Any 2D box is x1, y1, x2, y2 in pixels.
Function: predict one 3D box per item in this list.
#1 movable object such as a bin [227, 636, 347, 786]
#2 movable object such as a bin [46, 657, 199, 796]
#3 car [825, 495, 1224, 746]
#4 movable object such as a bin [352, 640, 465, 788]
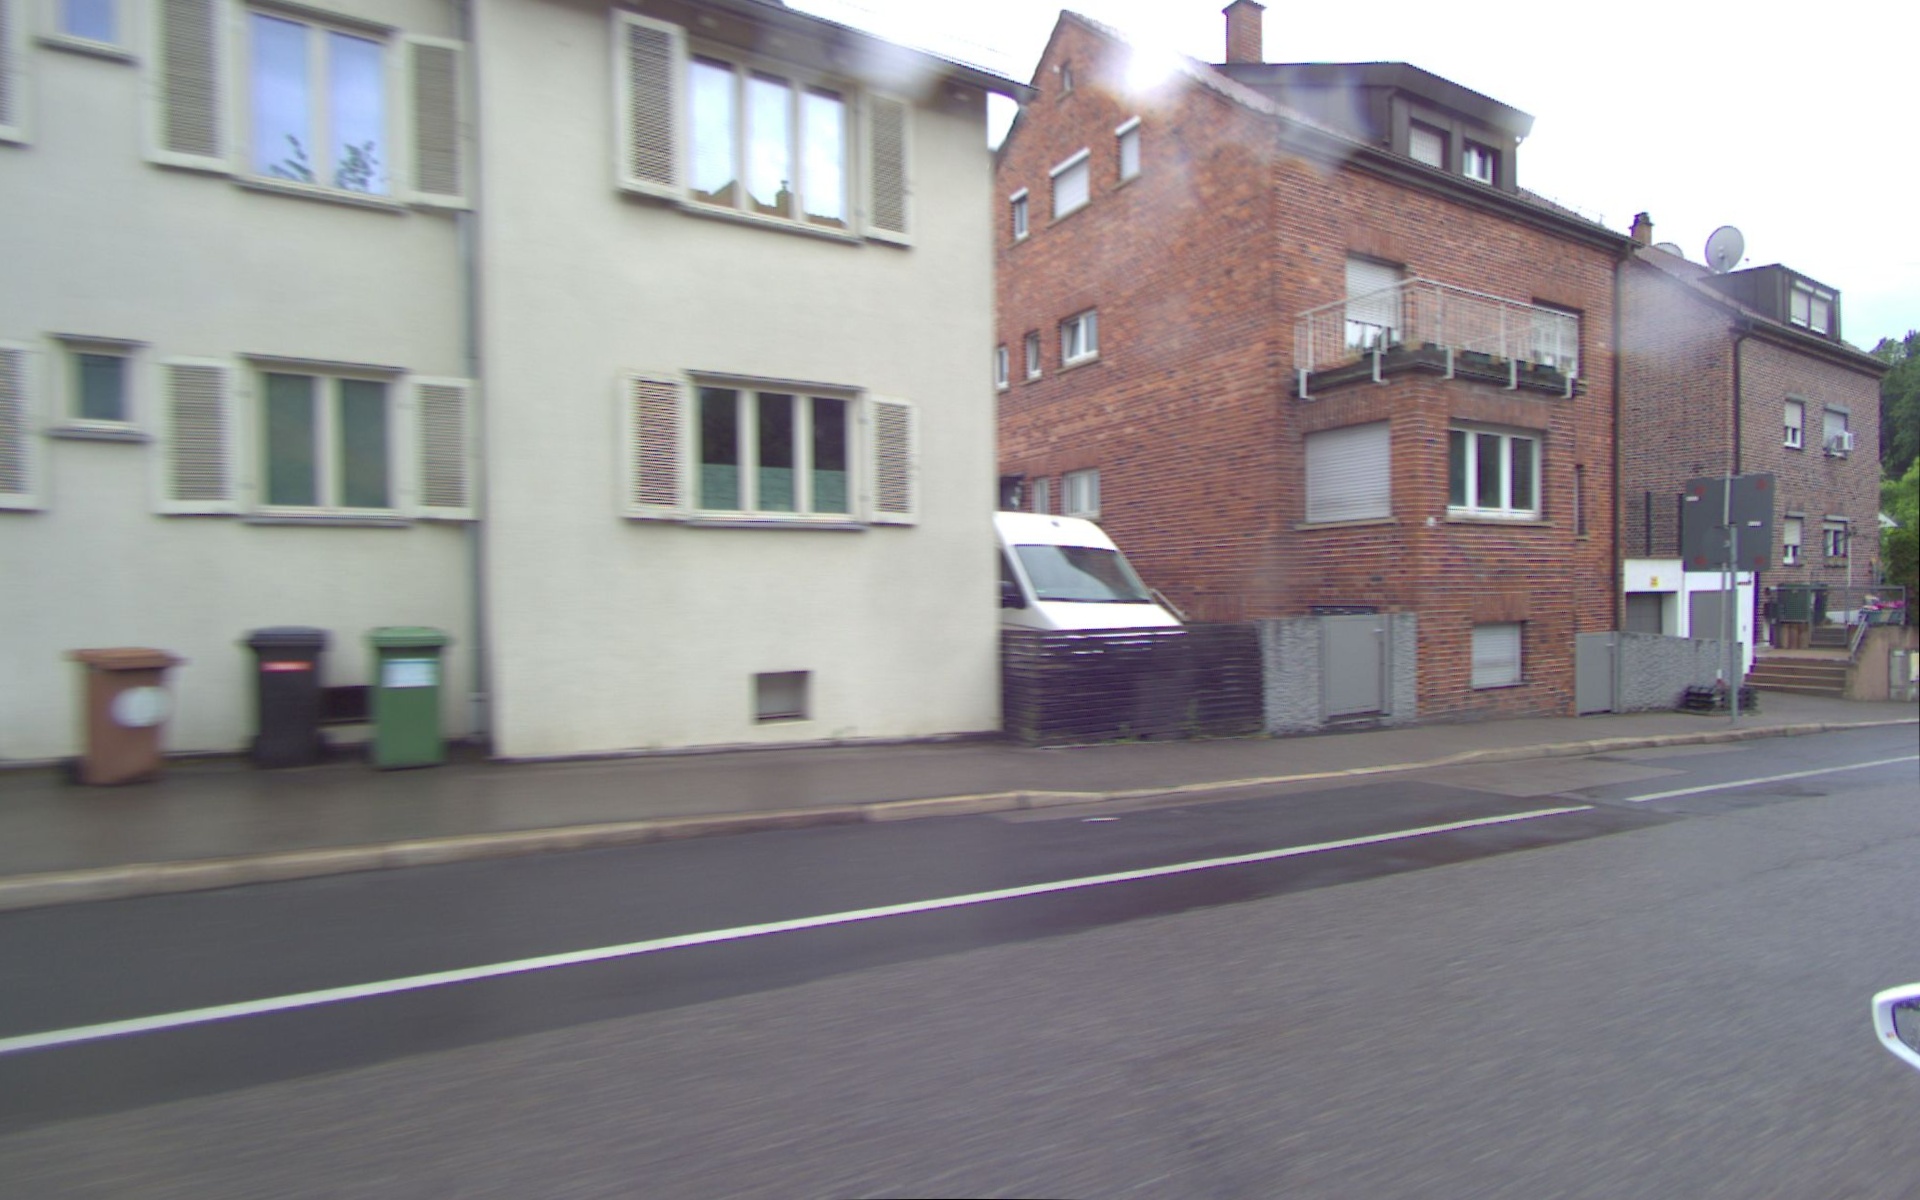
[{"bbox_3d":[-5.213,0.825,7.821,0.700,1.060,0.778,2,0,-30],"label":"movable object such as a bin"},{"bbox_3d":[-5.831,0.852,7.040,0.700,0.871,0.670,2,0,-30],"label":"movable object such as a bin"},{"bbox_3d":[0.427,0.259,13.813,2.142,2.587,6.623,3,-1,-29],"label":"car"},{"bbox_3d":[-4.347,0.864,7.924,0.729,1.060,0.778,2,0,-30],"label":"movable object such as a bin"}]
